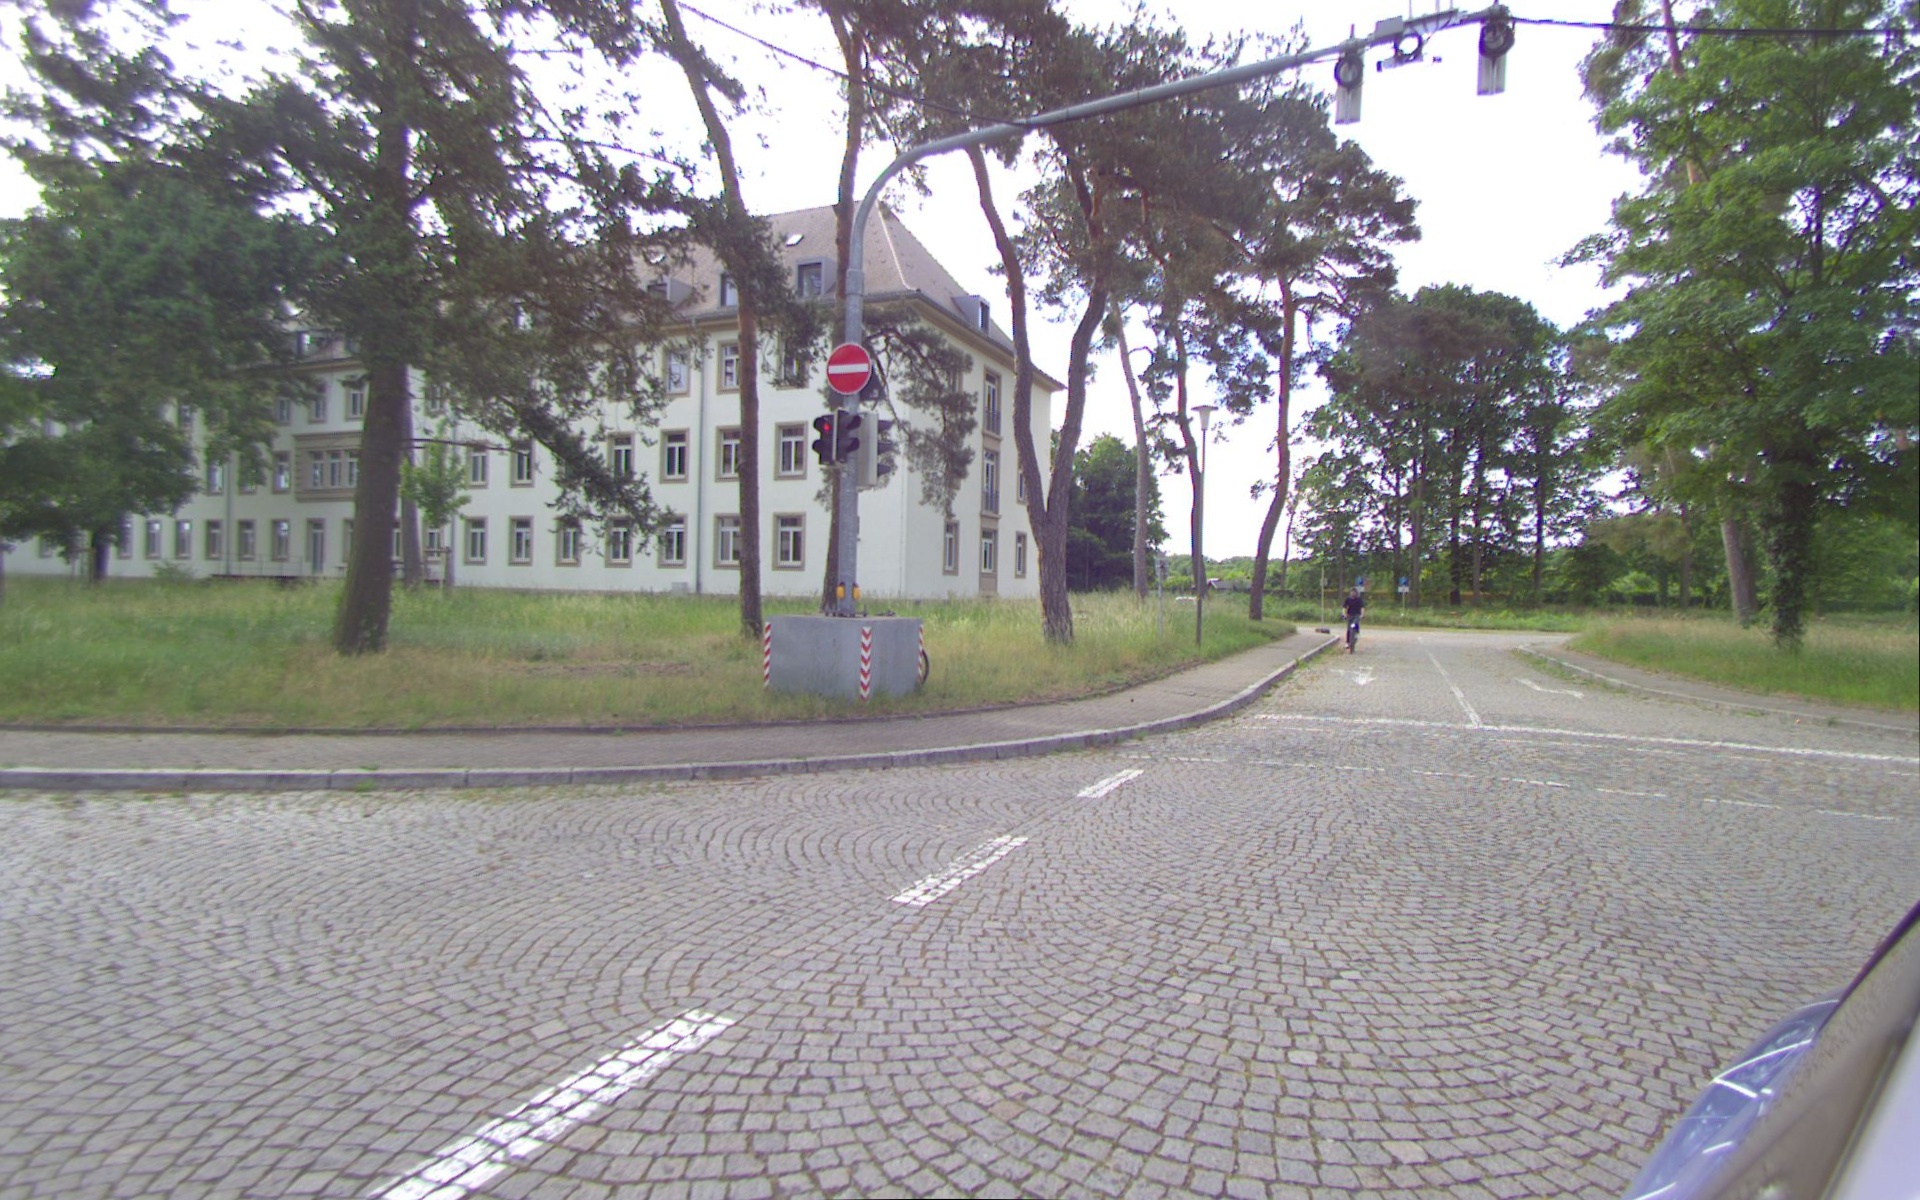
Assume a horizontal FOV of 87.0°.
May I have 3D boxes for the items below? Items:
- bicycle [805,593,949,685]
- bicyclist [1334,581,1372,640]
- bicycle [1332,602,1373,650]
[{"bbox_3d":[-1.089,0.483,13.204,1.817,1.098,0.568,1,2,23],"label":"bicycle"},{"bbox_3d":[11.539,0.298,29.678,0.955,1.656,0.909,1,0,26],"label":"bicyclist"},{"bbox_3d":[11.524,0.733,29.681,0.955,1.292,2.144,1,1,26],"label":"bicycle"}]
